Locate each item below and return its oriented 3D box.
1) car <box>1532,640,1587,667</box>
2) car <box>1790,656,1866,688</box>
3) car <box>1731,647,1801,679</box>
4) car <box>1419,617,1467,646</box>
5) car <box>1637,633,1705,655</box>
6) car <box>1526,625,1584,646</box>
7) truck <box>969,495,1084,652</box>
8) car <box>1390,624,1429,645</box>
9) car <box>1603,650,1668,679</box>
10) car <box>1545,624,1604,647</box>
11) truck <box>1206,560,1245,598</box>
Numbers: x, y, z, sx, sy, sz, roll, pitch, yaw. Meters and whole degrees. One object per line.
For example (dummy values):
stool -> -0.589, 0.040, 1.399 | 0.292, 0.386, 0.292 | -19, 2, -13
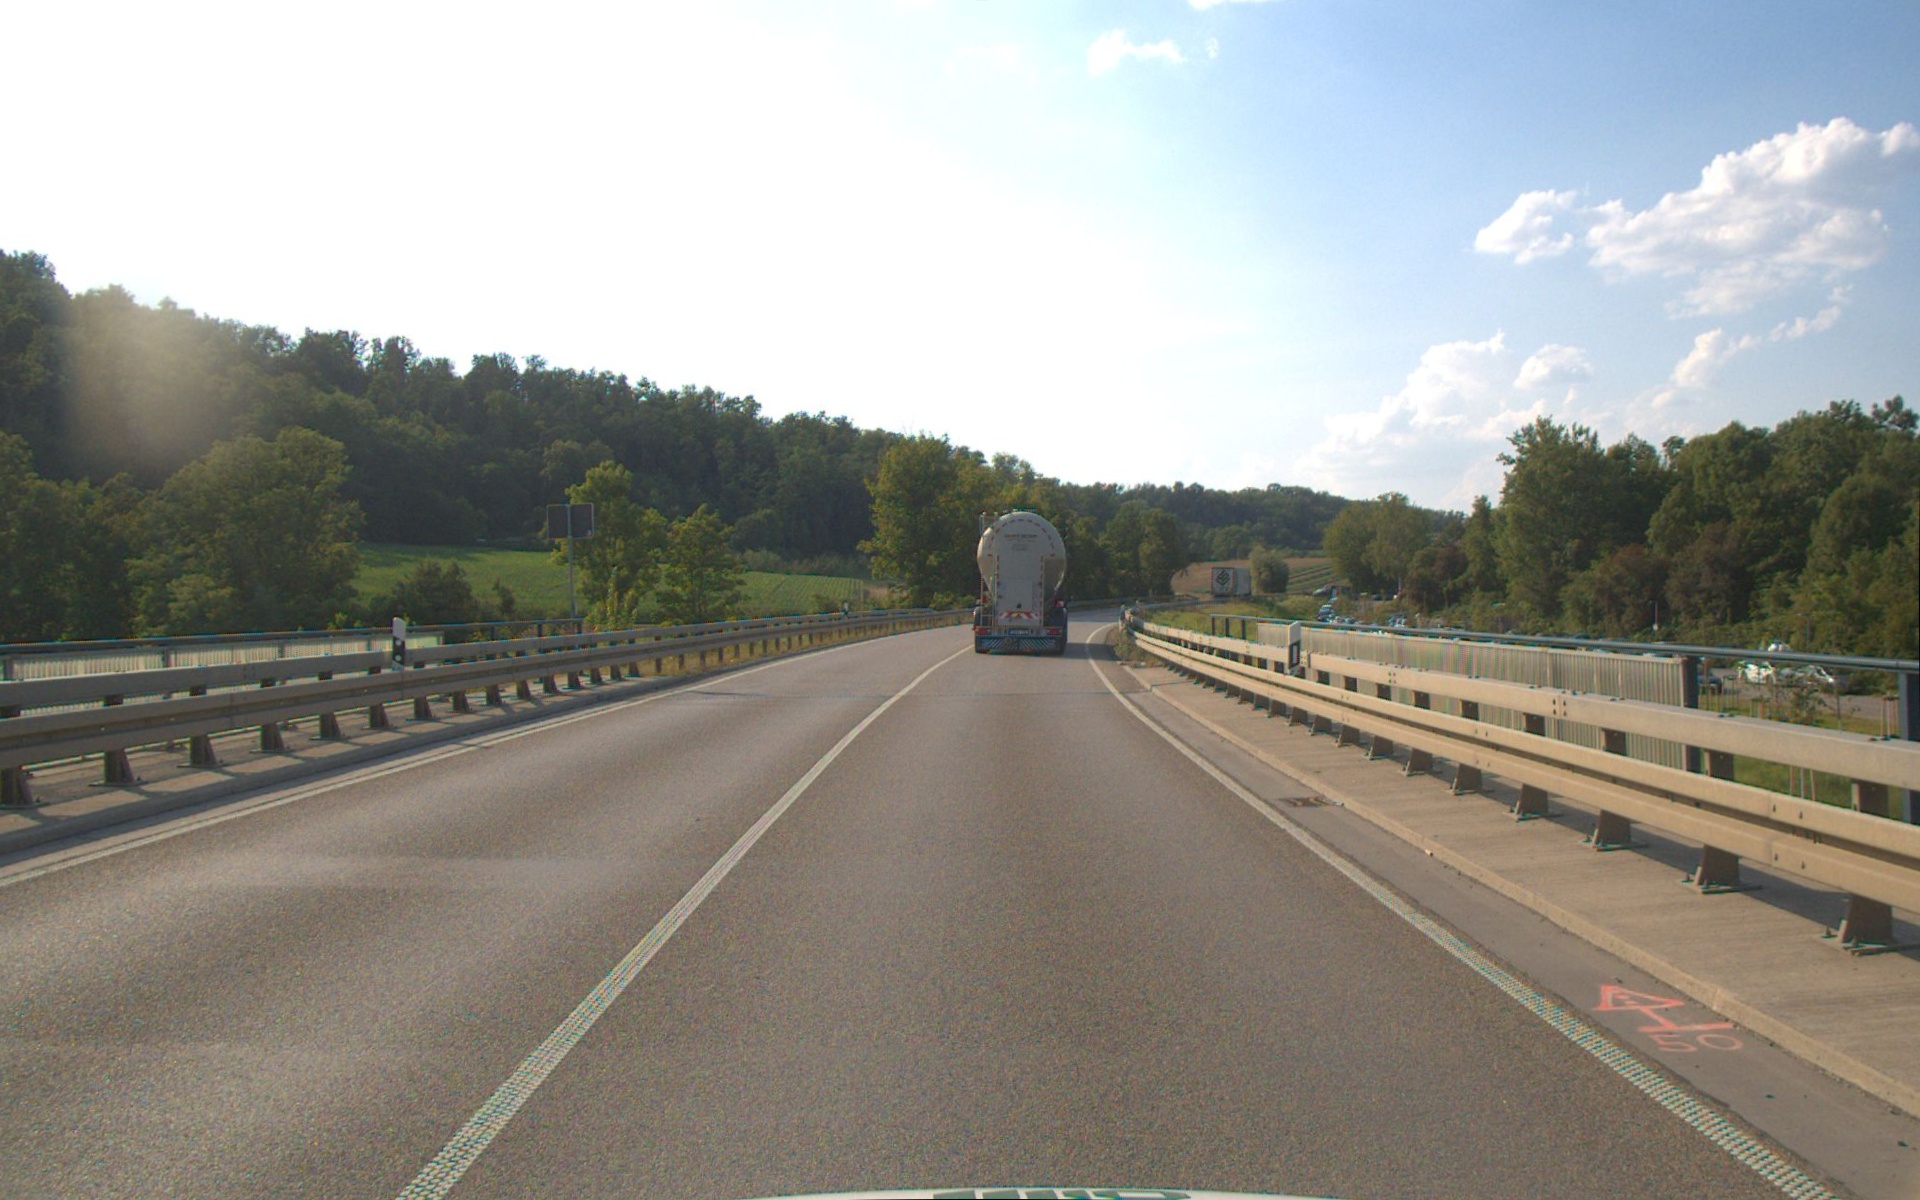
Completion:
car -> 40.612, 3.584, 112.198 | 1.783, 1.508, 4.251 | -2, 2, -6
car -> 46.618, 3.841, 88.903 | 1.622, 1.523, 4.219 | -1, 0, -4
car -> 46.446, 3.610, 95.366 | 1.621, 1.695, 4.707 | -1, 0, -1
car -> 39.468, 2.547, 135.396 | 2.077, 2.052, 5.377 | -4, 2, -2
car -> 51.271, 3.174, 119.317 | 4.324, 1.481, 1.729 | -1, 1, -13
car -> 49.359, 2.916, 137.180 | 4.148, 1.632, 1.832 | 1, 0, -3
truck -> 2.268, -0.707, 51.064 | 2.831, 4.215, 13.180 | 0, 0, 5
car -> 39.122, 2.980, 144.166 | 1.854, 1.508, 4.781 | -4, 2, -2
car -> 40.901, 3.870, 100.250 | 1.783, 1.425, 4.251 | -2, 2, -6
car -> 49.607, 2.866, 133.558 | 4.153, 1.772, 1.830 | 0, 1, -8
truck -> 31.794, -2.568, 197.495 | 3.116, 4.301, 13.183 | -1, 1, 16
